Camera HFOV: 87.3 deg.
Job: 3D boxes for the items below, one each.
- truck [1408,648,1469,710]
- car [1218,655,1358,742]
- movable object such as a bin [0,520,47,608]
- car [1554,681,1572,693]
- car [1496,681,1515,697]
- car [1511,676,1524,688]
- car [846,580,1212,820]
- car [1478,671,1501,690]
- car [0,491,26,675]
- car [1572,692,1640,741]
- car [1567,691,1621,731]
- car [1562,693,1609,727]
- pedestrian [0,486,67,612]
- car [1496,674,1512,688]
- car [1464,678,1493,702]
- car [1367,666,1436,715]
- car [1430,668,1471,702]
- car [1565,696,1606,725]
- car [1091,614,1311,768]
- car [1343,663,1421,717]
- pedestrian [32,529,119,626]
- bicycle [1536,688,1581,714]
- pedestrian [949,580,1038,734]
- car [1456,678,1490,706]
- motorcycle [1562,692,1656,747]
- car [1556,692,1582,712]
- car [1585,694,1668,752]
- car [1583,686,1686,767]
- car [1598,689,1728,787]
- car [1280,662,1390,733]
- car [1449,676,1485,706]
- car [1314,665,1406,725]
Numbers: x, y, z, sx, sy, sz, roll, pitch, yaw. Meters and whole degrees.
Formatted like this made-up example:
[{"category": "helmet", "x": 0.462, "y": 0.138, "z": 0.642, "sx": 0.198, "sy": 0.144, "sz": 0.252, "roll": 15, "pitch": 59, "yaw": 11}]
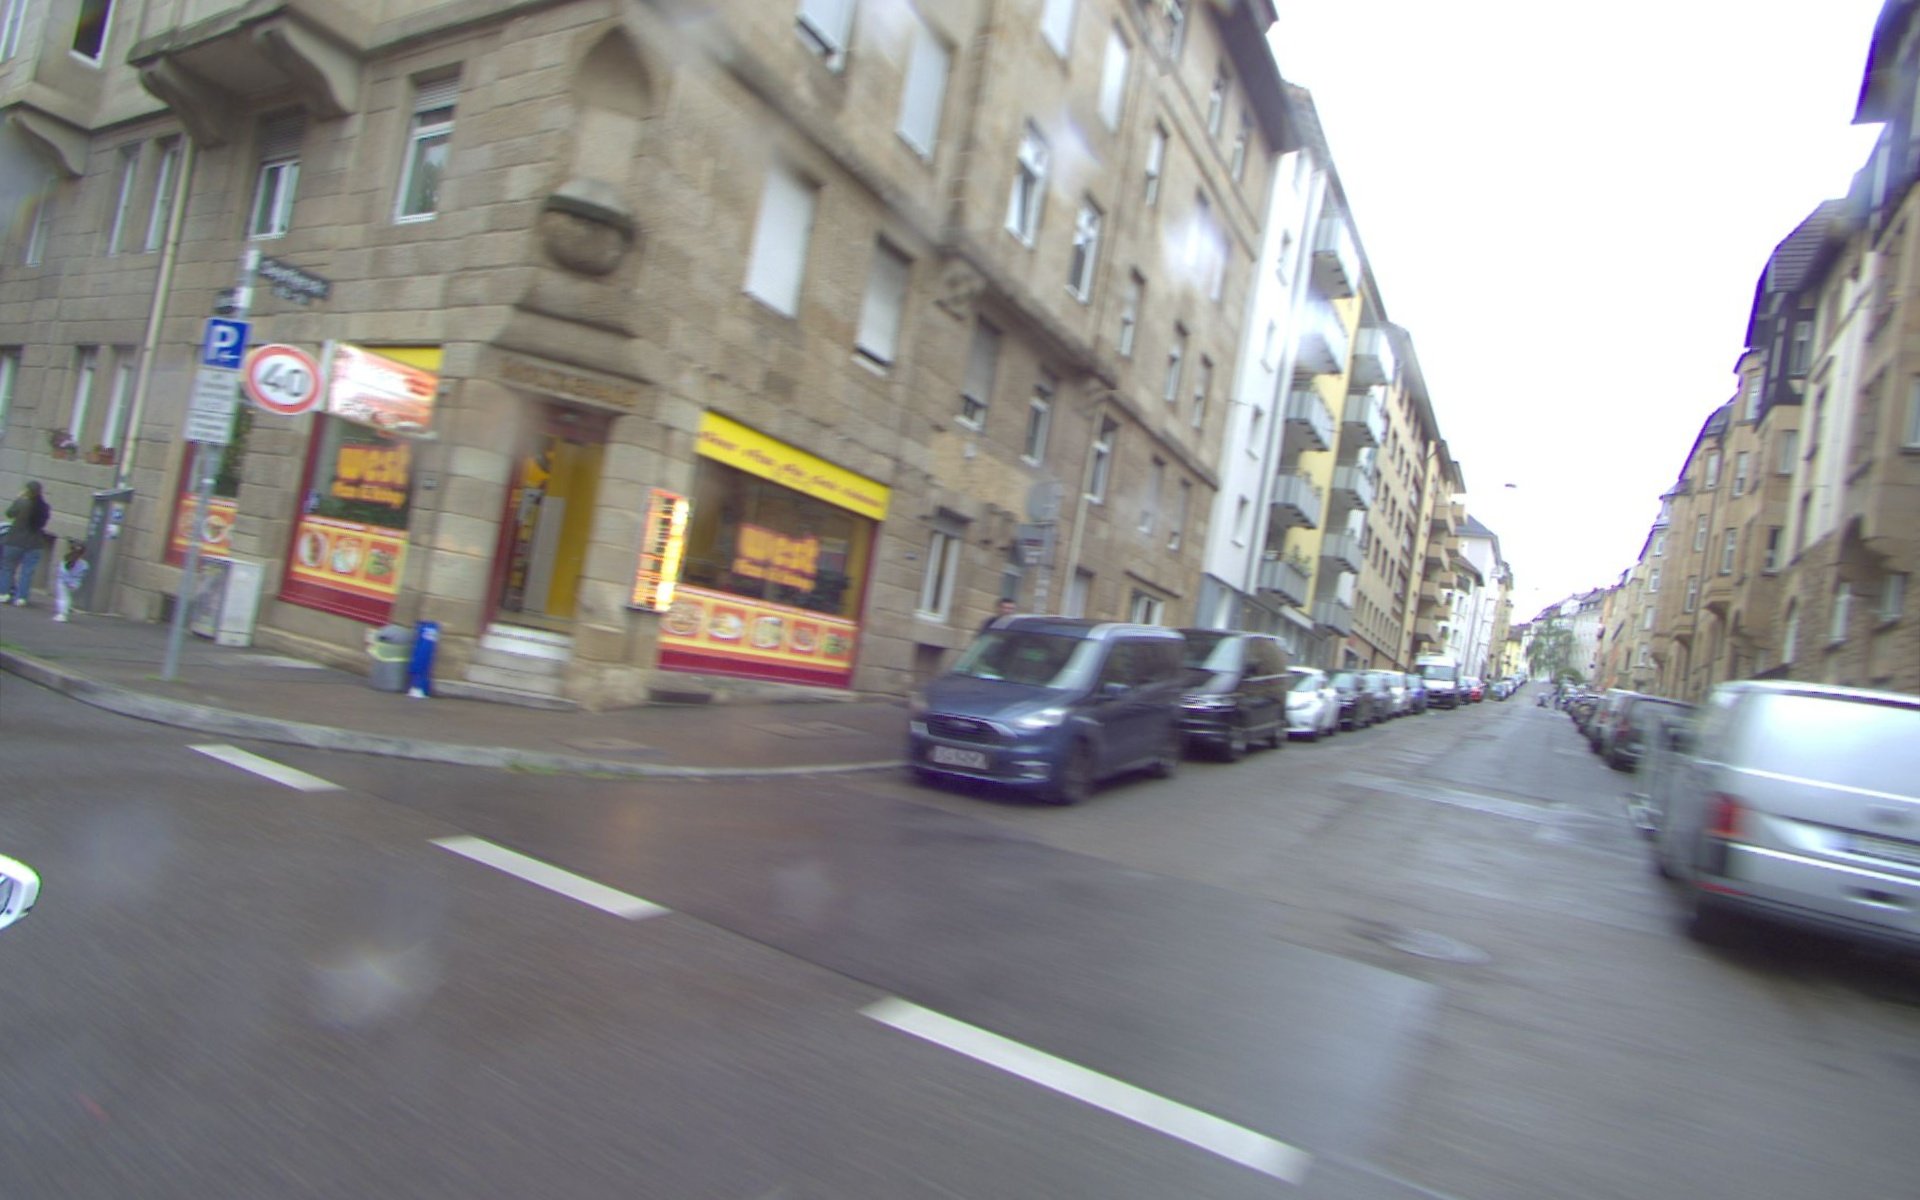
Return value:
[{"category": "truck", "x": 23.029, "y": 3.793, "z": 48.261, "sx": 1.831, "sy": 2.553, "sz": 6.710, "roll": 7, "pitch": -1, "yaw": 30}, {"category": "car", "x": 6.975, "y": 2.025, "z": 21.114, "sx": 1.831, "sy": 1.408, "sz": 4.180, "roll": 7, "pitch": -1, "yaw": 30}, {"category": "movable object such as a bin", "x": -13.292, "y": -0.545, "z": 13.836, "sx": 1.105, "sy": 1.115, "sz": 0.667, "roll": 7, "pitch": -3, "yaw": 31}, {"category": "car", "x": 89.896, "y": 12.994, "z": 149.995, "sx": 1.892, "sy": 1.521, "sz": 4.419, "roll": 9, "pitch": -1, "yaw": 29}, {"category": "car", "x": 64.331, "y": 10.489, "z": 118.637, "sx": 1.725, "sy": 1.667, "sz": 3.994, "roll": 7, "pitch": 0, "yaw": 30}, {"category": "car", "x": 93.516, "y": 13.749, "z": 168.630, "sx": 1.725, "sy": 1.667, "sz": 3.994, "roll": 7, "pitch": 0, "yaw": 30}, {"category": "car", "x": 1.049, "y": 1.024, "z": 11.165, "sx": 1.966, "sy": 1.884, "sz": 4.786, "roll": 7, "pitch": -1, "yaw": 30}, {"category": "car", "x": 53.581, "y": 8.184, "z": 101.756, "sx": 1.691, "sy": 1.667, "sz": 3.994, "roll": 7, "pitch": 0, "yaw": 30}, {"category": "car", "x": -9.620, "y": -0.393, "z": 8.374, "sx": 3.727, "sy": 1.461, "sz": 1.674, "roll": 7, "pitch": -1, "yaw": 32}, {"category": "car", "x": 25.565, "y": 4.602, "z": 39.935, "sx": 1.893, "sy": 1.521, "sz": 4.101, "roll": 9, "pitch": -1, "yaw": 30}, {"category": "car", "x": 30.002, "y": 5.238, "z": 47.677, "sx": 1.794, "sy": 1.521, "sz": 4.101, "roll": 9, "pitch": -1, "yaw": 30}, {"category": "car", "x": 34.875, "y": 6.141, "z": 56.140, "sx": 1.893, "sy": 1.521, "sz": 4.101, "roll": 9, "pitch": -1, "yaw": 30}, {"category": "pedestrian", "x": -12.471, "y": -0.678, "z": 13.357, "sx": 0.698, "sy": 1.552, "sz": 0.562, "roll": 7, "pitch": -2, "yaw": 31}, {"category": "car", "x": 76.315, "y": 11.408, "z": 141.021, "sx": 1.725, "sy": 1.667, "sz": 3.994, "roll": 7, "pitch": 0, "yaw": 30}, {"category": "car", "x": 42.182, "y": 7.271, "z": 81.775, "sx": 1.725, "sy": 1.667, "sz": 3.994, "roll": 7, "pitch": 0, "yaw": 30}, {"category": "car", "x": 16.914, "y": 3.447, "z": 38.446, "sx": 1.831, "sy": 1.501, "sz": 4.180, "roll": 7, "pitch": -1, "yaw": 30}, {"category": "car", "x": 28.366, "y": 4.879, "z": 58.139, "sx": 1.725, "sy": 1.667, "sz": 3.994, "roll": 7, "pitch": 0, "yaw": 30}, {"category": "car", "x": 40.820, "y": 7.228, "z": 65.715, "sx": 1.893, "sy": 1.521, "sz": 4.101, "roll": 9, "pitch": -1, "yaw": 30}, {"category": "car", "x": 4.040, "y": 1.396, "z": 16.198, "sx": 1.967, "sy": 1.949, "sz": 4.710, "roll": 5, "pitch": -1, "yaw": 31}, {"category": "car", "x": 14.618, "y": 3.098, "z": 34.723, "sx": 1.831, "sy": 1.501, "sz": 4.180, "roll": 7, "pitch": -1, "yaw": 30}, {"category": "pedestrian", "x": -10.704, "y": -0.270, "z": 12.180, "sx": 0.616, "sy": 1.061, "sz": 0.512, "roll": 7, "pitch": -2, "yaw": 31}, {"category": "bicycle", "x": 46.128, "y": 7.800, "z": 77.602, "sx": 2.794, "sy": 1.613, "sz": 0.962, "roll": 6, "pitch": -2, "yaw": 30}, {"category": "pedestrian", "x": 0.479, "y": 0.811, "z": 14.293, "sx": 0.744, "sy": 2.038, "sz": 0.626, "roll": 10, "pitch": 1, "yaw": 32}, {"category": "car", "x": 36.015, "y": 6.418, "z": 70.587, "sx": 1.725, "sy": 1.667, "sz": 3.994, "roll": 7, "pitch": 0, "yaw": 30}, {"category": "motorcycle", "x": 23.715, "y": 4.333, "z": 36.794, "sx": 2.537, "sy": 1.521, "sz": 0.982, "roll": 9, "pitch": 0, "yaw": 15}, {"category": "car", "x": 58.641, "y": 9.824, "z": 96.892, "sx": 1.893, "sy": 1.521, "sz": 4.418, "roll": 9, "pitch": -1, "yaw": 30}, {"category": "car", "x": 22.416, "y": 4.118, "z": 33.969, "sx": 1.893, "sy": 1.521, "sz": 4.101, "roll": 9, "pitch": -1, "yaw": 30}, {"category": "car", "x": 19.121, "y": 3.550, "z": 28.707, "sx": 1.893, "sy": 1.825, "sz": 4.479, "roll": 9, "pitch": -1, "yaw": 30}, {"category": "car", "x": 16.391, "y": 3.172, "z": 23.676, "sx": 1.893, "sy": 1.760, "sz": 4.479, "roll": 9, "pitch": -1, "yaw": 30}, {"category": "car", "x": 9.599, "y": 2.450, "z": 25.562, "sx": 1.831, "sy": 1.408, "sz": 4.180, "roll": 7, "pitch": -1, "yaw": 30}, {"category": "car", "x": 33.282, "y": 5.931, "z": 65.974, "sx": 1.725, "sy": 1.667, "sz": 3.994, "roll": 7, "pitch": 0, "yaw": 30}, {"category": "car", "x": 12.037, "y": 2.812, "z": 30.129, "sx": 1.831, "sy": 1.408, "sz": 4.180, "roll": 7, "pitch": -1, "yaw": 30}]
